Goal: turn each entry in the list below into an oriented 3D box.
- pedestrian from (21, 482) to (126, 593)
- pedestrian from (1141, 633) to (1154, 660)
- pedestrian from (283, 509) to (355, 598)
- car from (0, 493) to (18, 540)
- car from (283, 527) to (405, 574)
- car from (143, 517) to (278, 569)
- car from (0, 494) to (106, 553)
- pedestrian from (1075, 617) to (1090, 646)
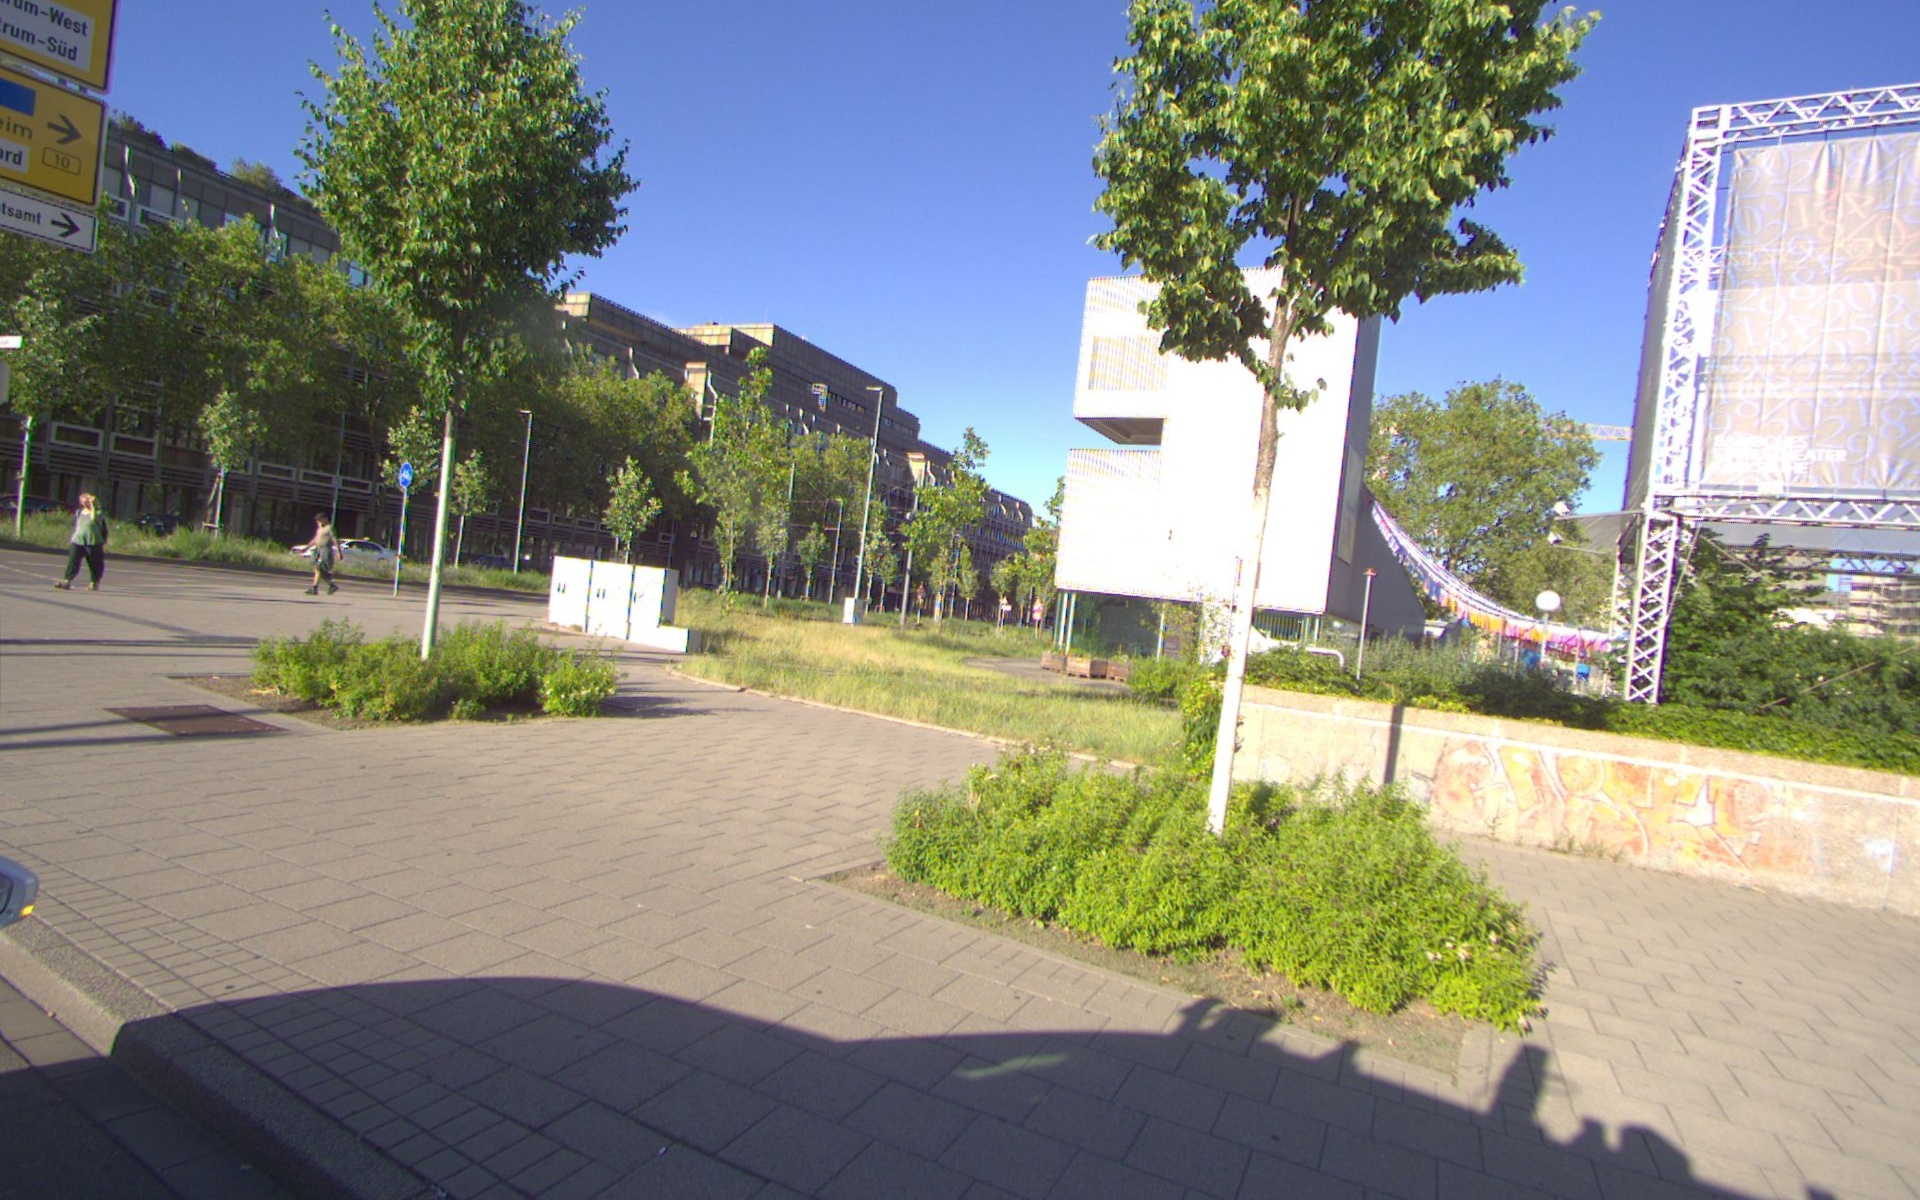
[{"bbox_3d":[-14.241,-0.980,16.183,0.753,1.634,0.875,7,0,8],"label":"pedestrian"},{"bbox_3d":[11.426,2.825,61.323,0.521,1.571,0.436,7,-1,32],"label":"pedestrian"},{"bbox_3d":[-13.421,-0.969,21.080,0.755,1.728,0.873,7,1,30],"label":"pedestrian"},{"bbox_3d":[-37.407,-3.346,36.710,1.732,1.704,3.993,7,-1,30],"label":"car"},{"bbox_3d":[-30.705,-2.440,50.340,1.794,1.704,4.854,7,-1,28],"label":"car"},{"bbox_3d":[-33.480,-2.514,45.068,1.794,1.704,4.412,7,-1,29],"label":"car"},{"bbox_3d":[-33.249,-2.790,35.510,1.792,1.704,4.302,7,-1,21],"label":"car"},{"bbox_3d":[7.093,1.819,58.228,0.520,1.571,0.638,7,-1,31],"label":"pedestrian"}]
